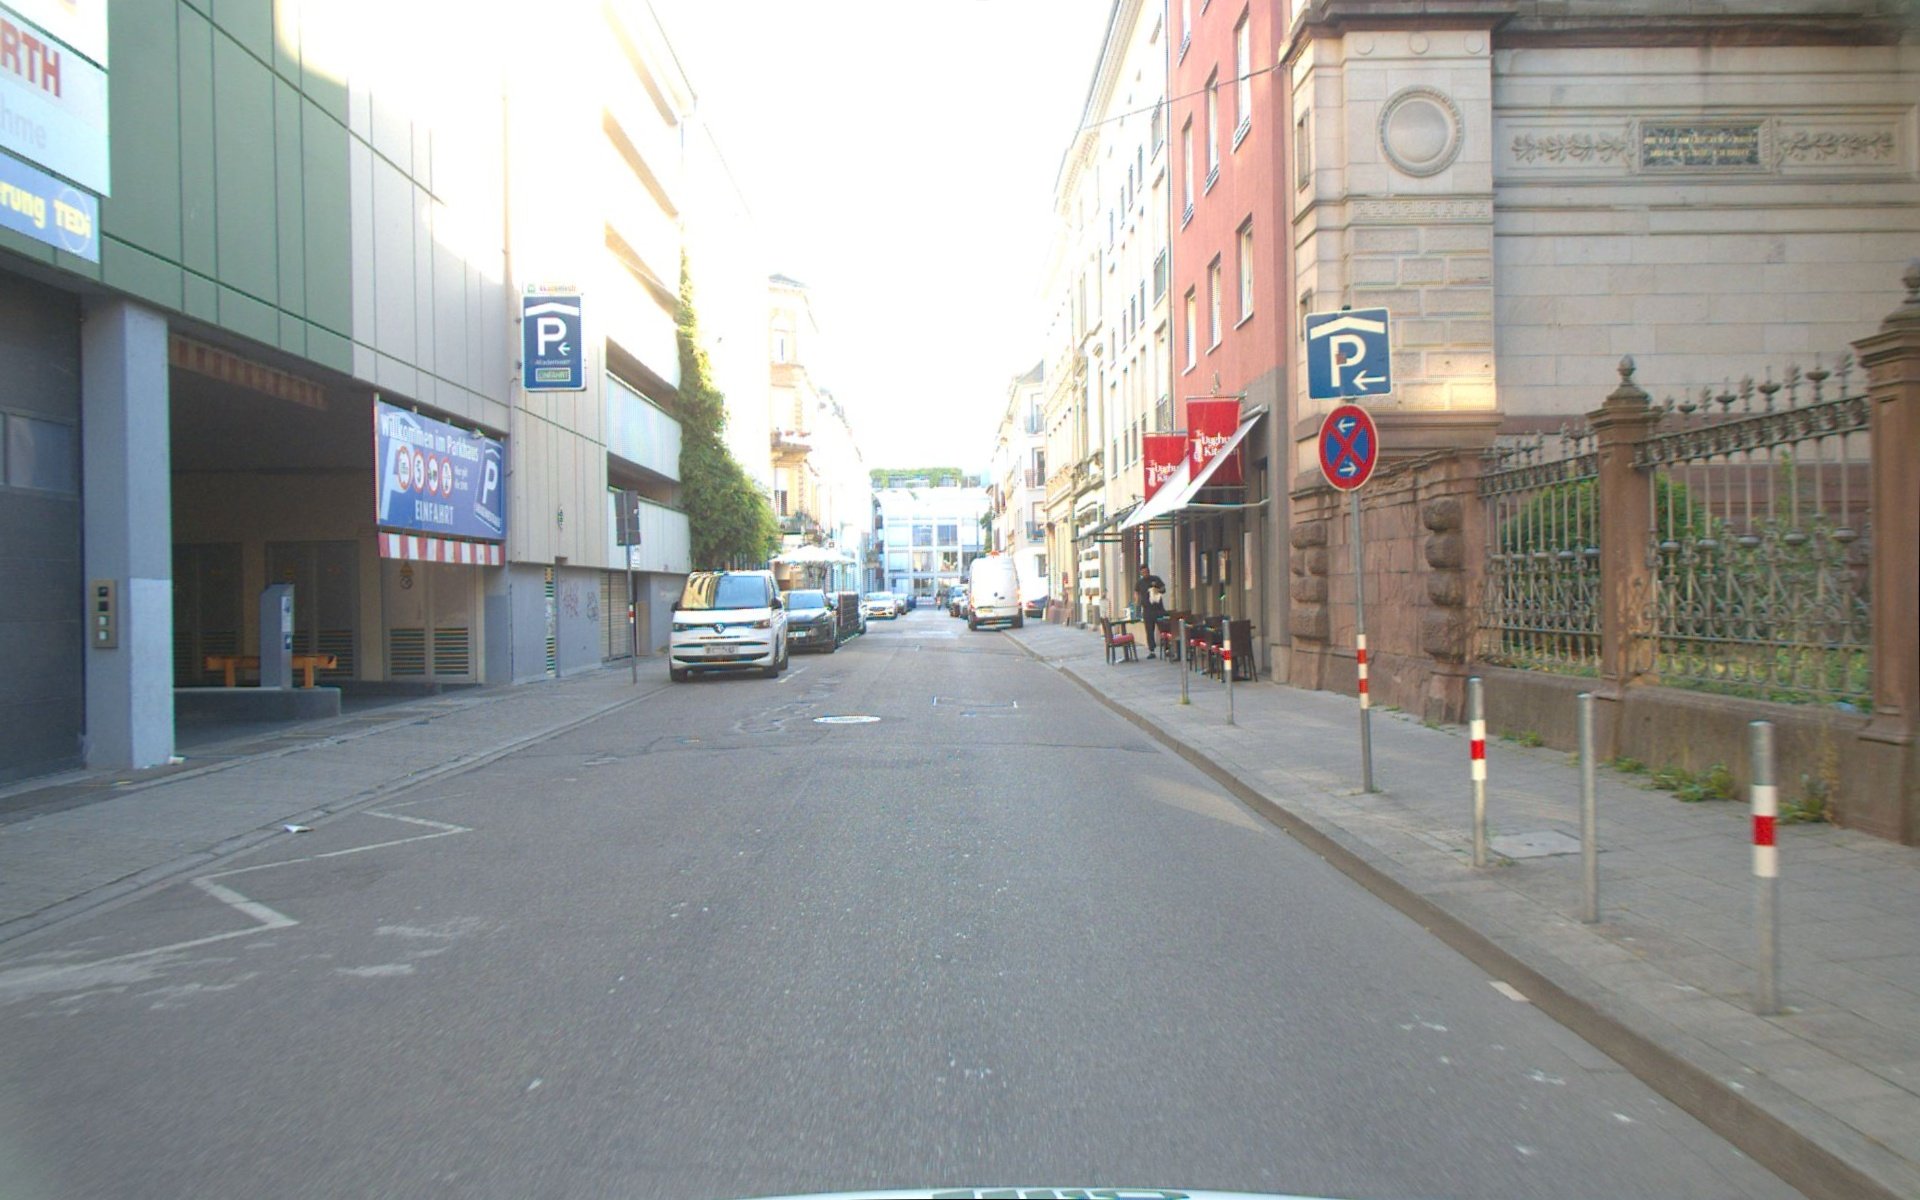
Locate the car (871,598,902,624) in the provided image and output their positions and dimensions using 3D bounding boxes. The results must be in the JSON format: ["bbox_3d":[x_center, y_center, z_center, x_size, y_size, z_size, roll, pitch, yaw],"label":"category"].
[{"bbox_3d":[-4.976,0.754,112.872,1.953,1.713,3.999,-1,-1,-1],"label":"car"}]

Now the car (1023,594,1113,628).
[{"bbox_3d":[4.851,0.499,74.384,3.906,1.445,1.656,-1,-1,-1],"label":"car"}]

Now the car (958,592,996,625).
[{"bbox_3d":[0.882,0.450,88.510,1.953,1.713,3.999,-1,-1,-1],"label":"car"}]

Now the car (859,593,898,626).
[{"bbox_3d":[-4.399,0.528,89.925,1.953,1.713,3.999,-1,-1,-1],"label":"car"}]

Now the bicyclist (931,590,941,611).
[{"bbox_3d":[-2.207,0.020,152.612,0.970,1.901,0.708,-1,-1,-1],"label":"bicyclist"}]

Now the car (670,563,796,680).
[{"bbox_3d":[-4.093,0.356,30.454,1.846,1.945,4.745,-1,0,-3],"label":"car"}]

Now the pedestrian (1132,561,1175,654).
[{"bbox_3d":[3.595,0.136,30.817,0.648,1.695,0.624,-3,0,-1],"label":"pedestrian"}]

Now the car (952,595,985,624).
[{"bbox_3d":[0.498,0.568,100.347,1.953,1.713,3.999,-1,-1,-1],"label":"car"}]

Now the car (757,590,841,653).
[{"bbox_3d":[-4.013,0.517,41.763,1.846,1.478,3.998,-1,0,-2],"label":"car"}]

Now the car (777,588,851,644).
[{"bbox_3d":[-4.050,0.425,46.373,1.846,1.478,3.998,-1,0,-2],"label":"car"}]

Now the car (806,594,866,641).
[{"bbox_3d":[-4.108,0.549,55.259,1.846,1.478,3.998,-1,0,-2],"label":"car"}]

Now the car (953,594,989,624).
[{"bbox_3d":[0.620,0.520,95.558,1.953,1.713,3.999,-1,-1,-1],"label":"car"}]

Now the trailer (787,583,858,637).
[{"bbox_3d":[-4.189,0.311,50.901,1.953,1.584,3.998,-1,-1,-2],"label":"trailer"}]

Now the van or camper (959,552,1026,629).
[{"bbox_3d":[1.213,-0.322,63.952,2.213,2.652,5.111,-5,-1,-1],"label":"van or camper"}]

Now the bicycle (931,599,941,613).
[{"bbox_3d":[-2.198,0.569,152.803,0.955,1.303,2.754,-1,-1,-1],"label":"bicycle"}]
